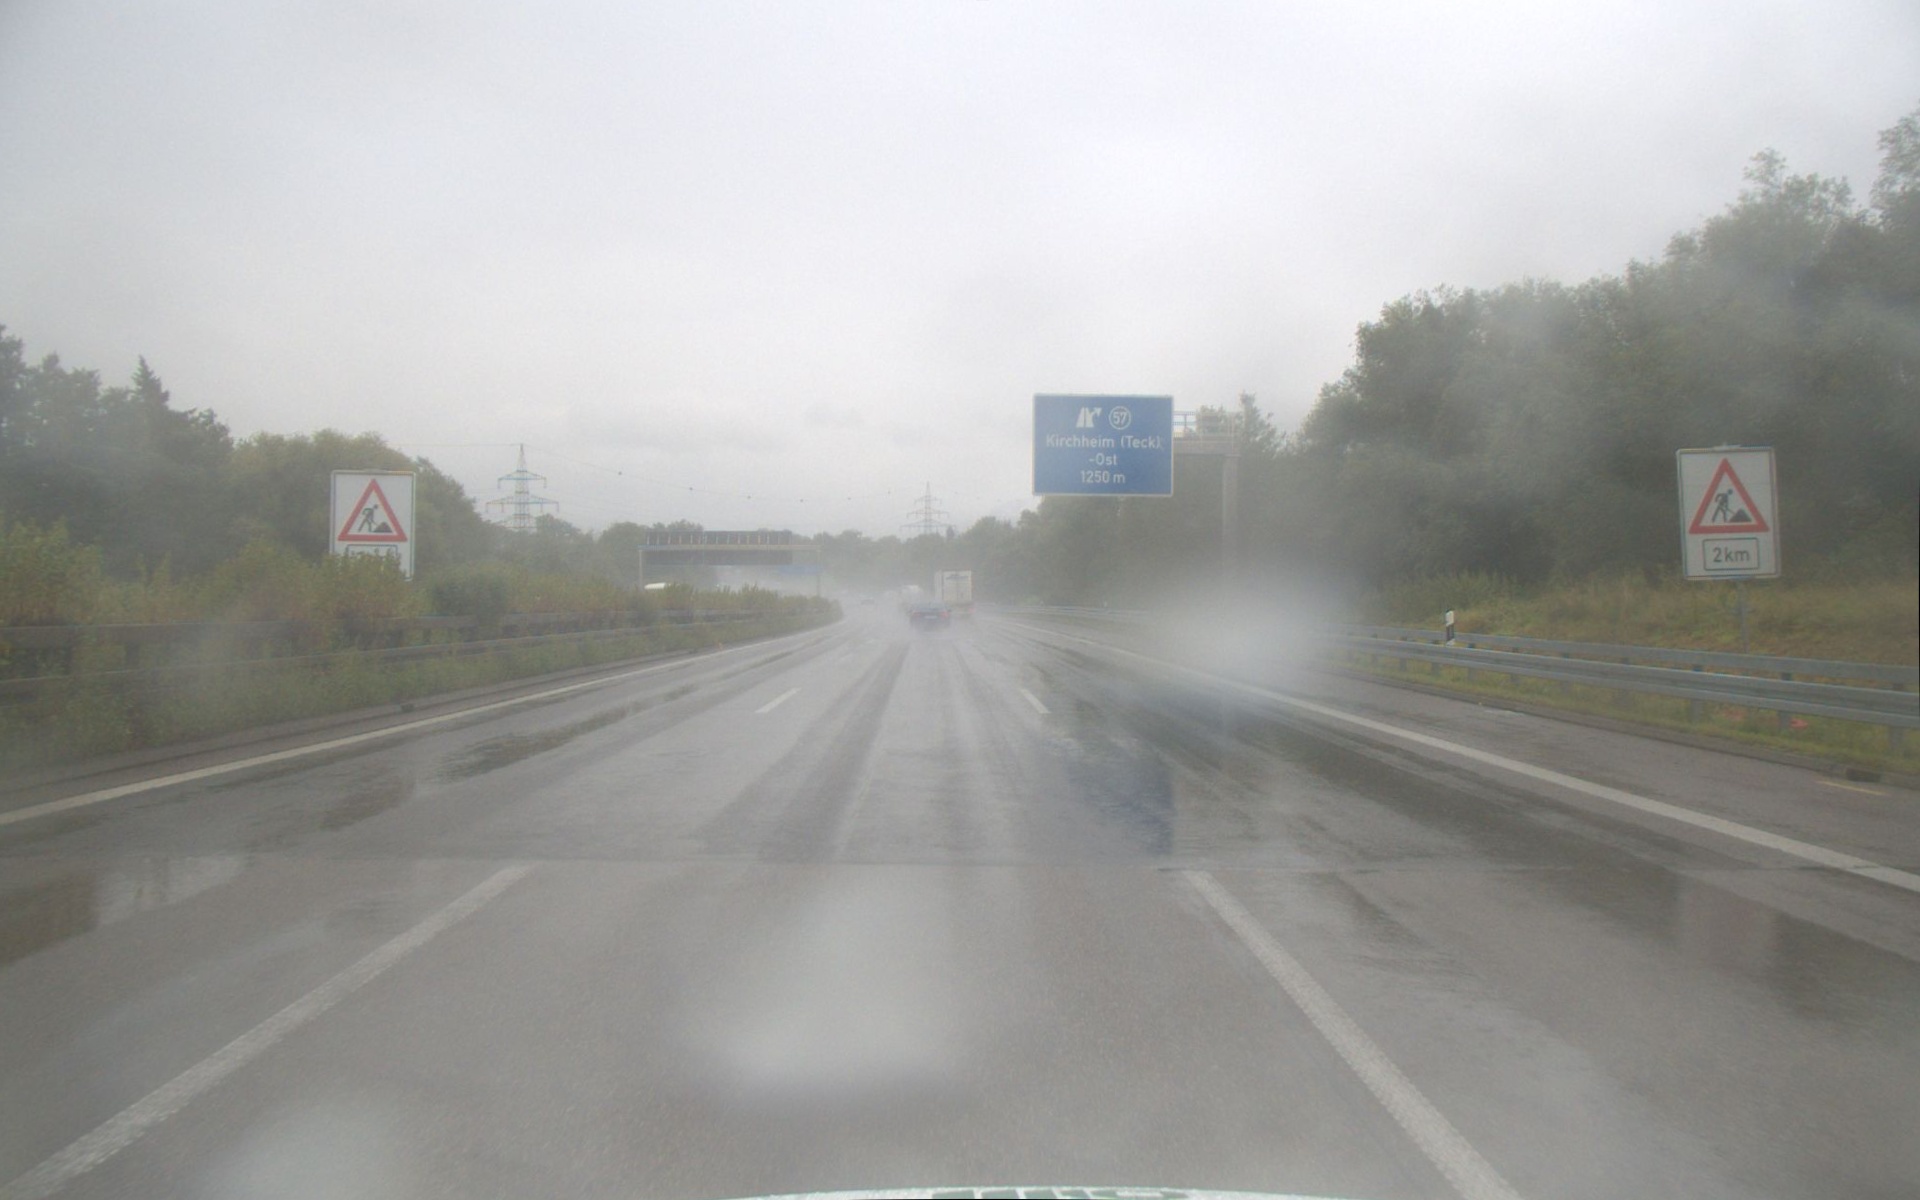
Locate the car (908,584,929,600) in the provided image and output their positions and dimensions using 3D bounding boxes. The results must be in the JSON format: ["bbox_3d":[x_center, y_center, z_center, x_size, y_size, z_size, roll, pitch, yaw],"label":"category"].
[{"bbox_3d":[-5.852,-1.131,233.074,2.348,2.312,4.994,0,1,-8],"label":"car"}]

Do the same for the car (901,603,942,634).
[{"bbox_3d":[-1.680,0.794,71.543,1.713,1.233,3.999,1,0,-2],"label":"car"}]

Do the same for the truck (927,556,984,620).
[{"bbox_3d":[-0.539,-1.055,143.423,4.171,5.058,17.333,-2,1,-2],"label":"truck"}]
